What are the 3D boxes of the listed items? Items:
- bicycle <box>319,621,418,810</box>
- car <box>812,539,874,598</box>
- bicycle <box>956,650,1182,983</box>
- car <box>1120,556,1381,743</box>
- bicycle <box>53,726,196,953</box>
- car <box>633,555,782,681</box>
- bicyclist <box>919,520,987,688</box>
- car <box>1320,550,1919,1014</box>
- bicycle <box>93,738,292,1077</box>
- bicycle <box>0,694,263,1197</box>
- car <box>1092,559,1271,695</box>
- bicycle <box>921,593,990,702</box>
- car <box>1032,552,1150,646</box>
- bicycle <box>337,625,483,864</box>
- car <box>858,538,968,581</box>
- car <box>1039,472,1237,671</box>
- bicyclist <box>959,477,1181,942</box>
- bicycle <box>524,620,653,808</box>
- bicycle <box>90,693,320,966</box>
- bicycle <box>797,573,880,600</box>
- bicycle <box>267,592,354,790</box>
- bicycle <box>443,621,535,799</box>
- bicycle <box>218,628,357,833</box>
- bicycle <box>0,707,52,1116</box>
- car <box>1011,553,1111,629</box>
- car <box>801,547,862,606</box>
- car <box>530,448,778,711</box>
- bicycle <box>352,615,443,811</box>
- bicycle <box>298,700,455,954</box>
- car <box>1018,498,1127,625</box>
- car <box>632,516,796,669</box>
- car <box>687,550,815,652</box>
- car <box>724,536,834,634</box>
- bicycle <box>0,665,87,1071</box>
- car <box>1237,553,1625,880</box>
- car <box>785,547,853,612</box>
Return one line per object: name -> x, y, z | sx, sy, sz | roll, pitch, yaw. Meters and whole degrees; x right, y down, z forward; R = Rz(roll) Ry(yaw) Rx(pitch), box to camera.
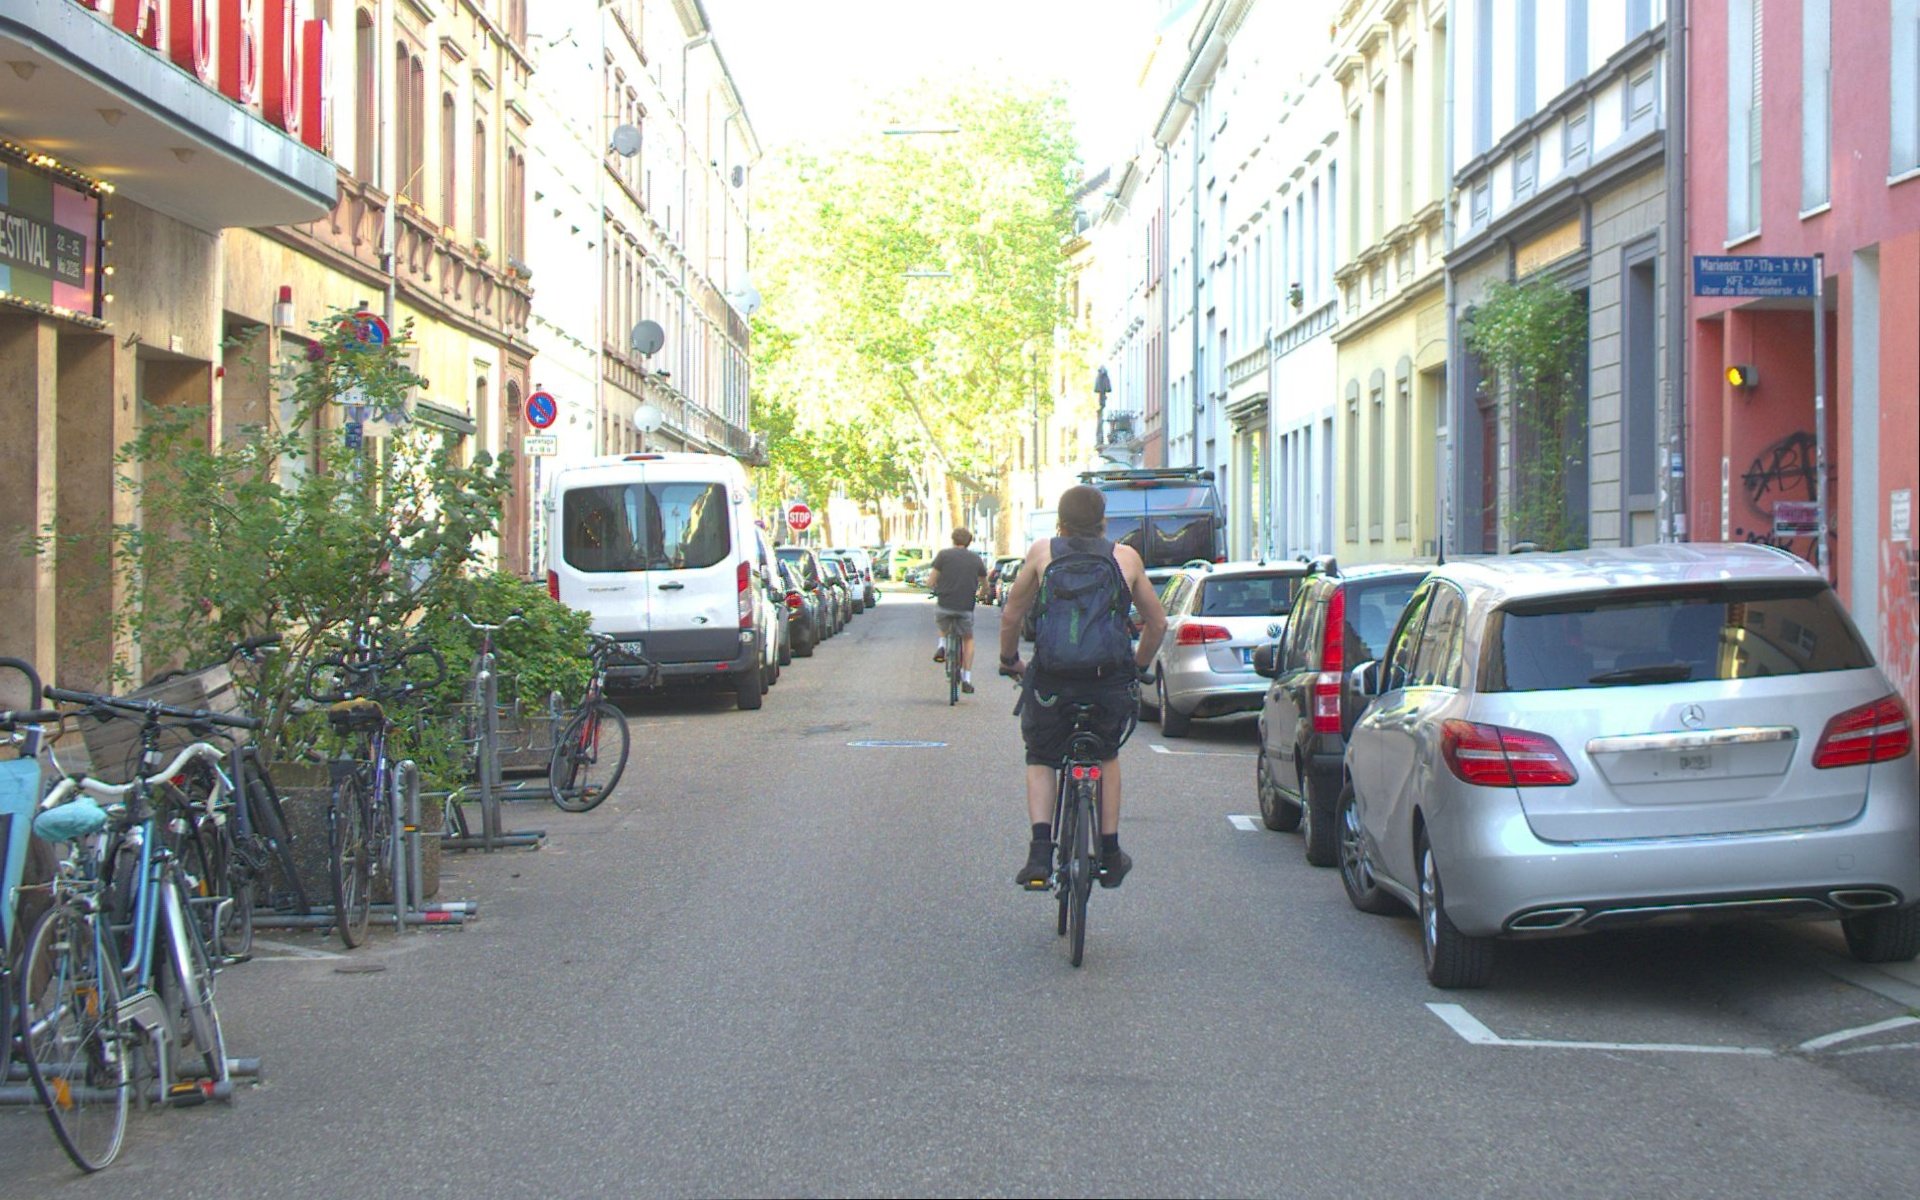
bicycle -> -3.507, 0.668, 20.443 | 0.417, 1.044, 1.318 | 2, 1, -4
car -> -3.503, -0.966, 103.482 | 1.787, 1.731, 3.876 | 0, 1, -1
bicycle -> 0.385, 0.783, 13.198 | 0.740, 1.097, 2.042 | 2, 1, -1
car -> 2.500, 0.381, 30.594 | 1.786, 1.449, 4.547 | -3, 1, -1
bicycle -> -3.410, 0.961, 14.089 | 0.256, 0.814, 1.299 | 1, 1, 0
car -> -3.016, 0.183, 41.625 | 1.645, 1.442, 3.840 | 0, 1, -2
bicyclist -> -0.070, 0.035, 34.421 | 0.669, 1.653, 0.877 | 0, 1, 0
car -> 2.512, 0.586, 13.717 | 1.746, 1.550, 4.171 | 0, 1, 1
bicycle -> -2.357, 0.919, 10.640 | 0.321, 0.913, 1.290 | 0, 1, 0
bicycle -> -2.266, 0.842, 9.042 | 0.499, 1.102, 1.830 | 1, 1, -1
car -> 2.491, 0.272, 39.492 | 1.747, 1.439, 4.172 | 1, 1, 0
bicycle -> -0.049, 0.458, 34.458 | 0.664, 1.034, 1.959 | 0, 1, 0
car -> 2.137, -0.048, 57.044 | 1.746, 1.480, 4.243 | 0, 1, -1
bicycle -> -2.782, 0.703, 17.514 | 0.546, 1.090, 1.882 | 2, 1, -4
car -> -1.965, -1.682, 142.831 | 4.468, 1.753, 1.867 | 0, 1, -4
car -> 2.279, -0.399, 45.715 | 2.175, 2.417, 6.310 | -1, 1, -1
bicyclist -> 0.401, 0.392, 13.081 | 0.740, 1.673, 1.116 | 2, 1, -1
bicycle -> -2.290, 0.678, 21.046 | 0.460, 1.044, 1.751 | 2, 1, -16
bicycle -> -2.947, 0.873, 13.536 | 0.554, 0.941, 1.571 | 0, 1, 0
bicycle -> -3.982, -0.442, 112.975 | 2.715, 0.889, 0.619 | 0, 1, -3
bicycle -> -4.081, 0.552, 21.660 | 0.339, 1.170, 1.490 | 2, 1, -4
bicycle -> -3.015, 0.685, 22.110 | 0.442, 1.044, 1.865 | 2, 1, -4
bicycle -> -3.676, 0.697, 18.859 | 0.573, 1.042, 1.410 | 1, 1, -4
bicycle -> -2.853, 0.876, 9.007 | 0.443, 1.102, 1.932 | 1, 1, -1
car -> 1.944, -0.202, 67.058 | 1.725, 1.424, 3.833 | 0, 1, -2
car -> -3.421, -0.640, 91.282 | 1.544, 1.545, 3.466 | 0, 1, -3
car -> -3.057, -0.242, 35.564 | 2.168, 2.443, 5.922 | -1, 1, -2
bicycle -> -3.602, 0.702, 22.081 | 0.399, 1.170, 1.670 | 2, 1, -4
bicycle -> -2.342, 0.892, 13.887 | 0.390, 0.913, 1.393 | 0, 1, 0
car -> 2.357, -0.821, 72.314 | 2.204, 2.542, 6.036 | 0, 1, 2
car -> -3.255, -0.131, 46.217 | 1.827, 1.885, 4.614 | -2, 1, 0
car -> -3.176, -0.021, 52.913 | 1.862, 1.435, 4.646 | 0, 1, -2
car -> -3.338, -0.297, 63.933 | 1.801, 1.692, 4.000 | -2, 1, 0
bicycle -> -3.214, 0.800, 10.644 | 0.812, 1.171, 0.920 | 1, 1, -2
car -> 2.442, 0.546, 18.533 | 1.602, 1.534, 3.450 | -2, 1, 1
car -> -3.438, -0.508, 83.908 | 1.604, 1.525, 3.379 | -1, 1, -2
